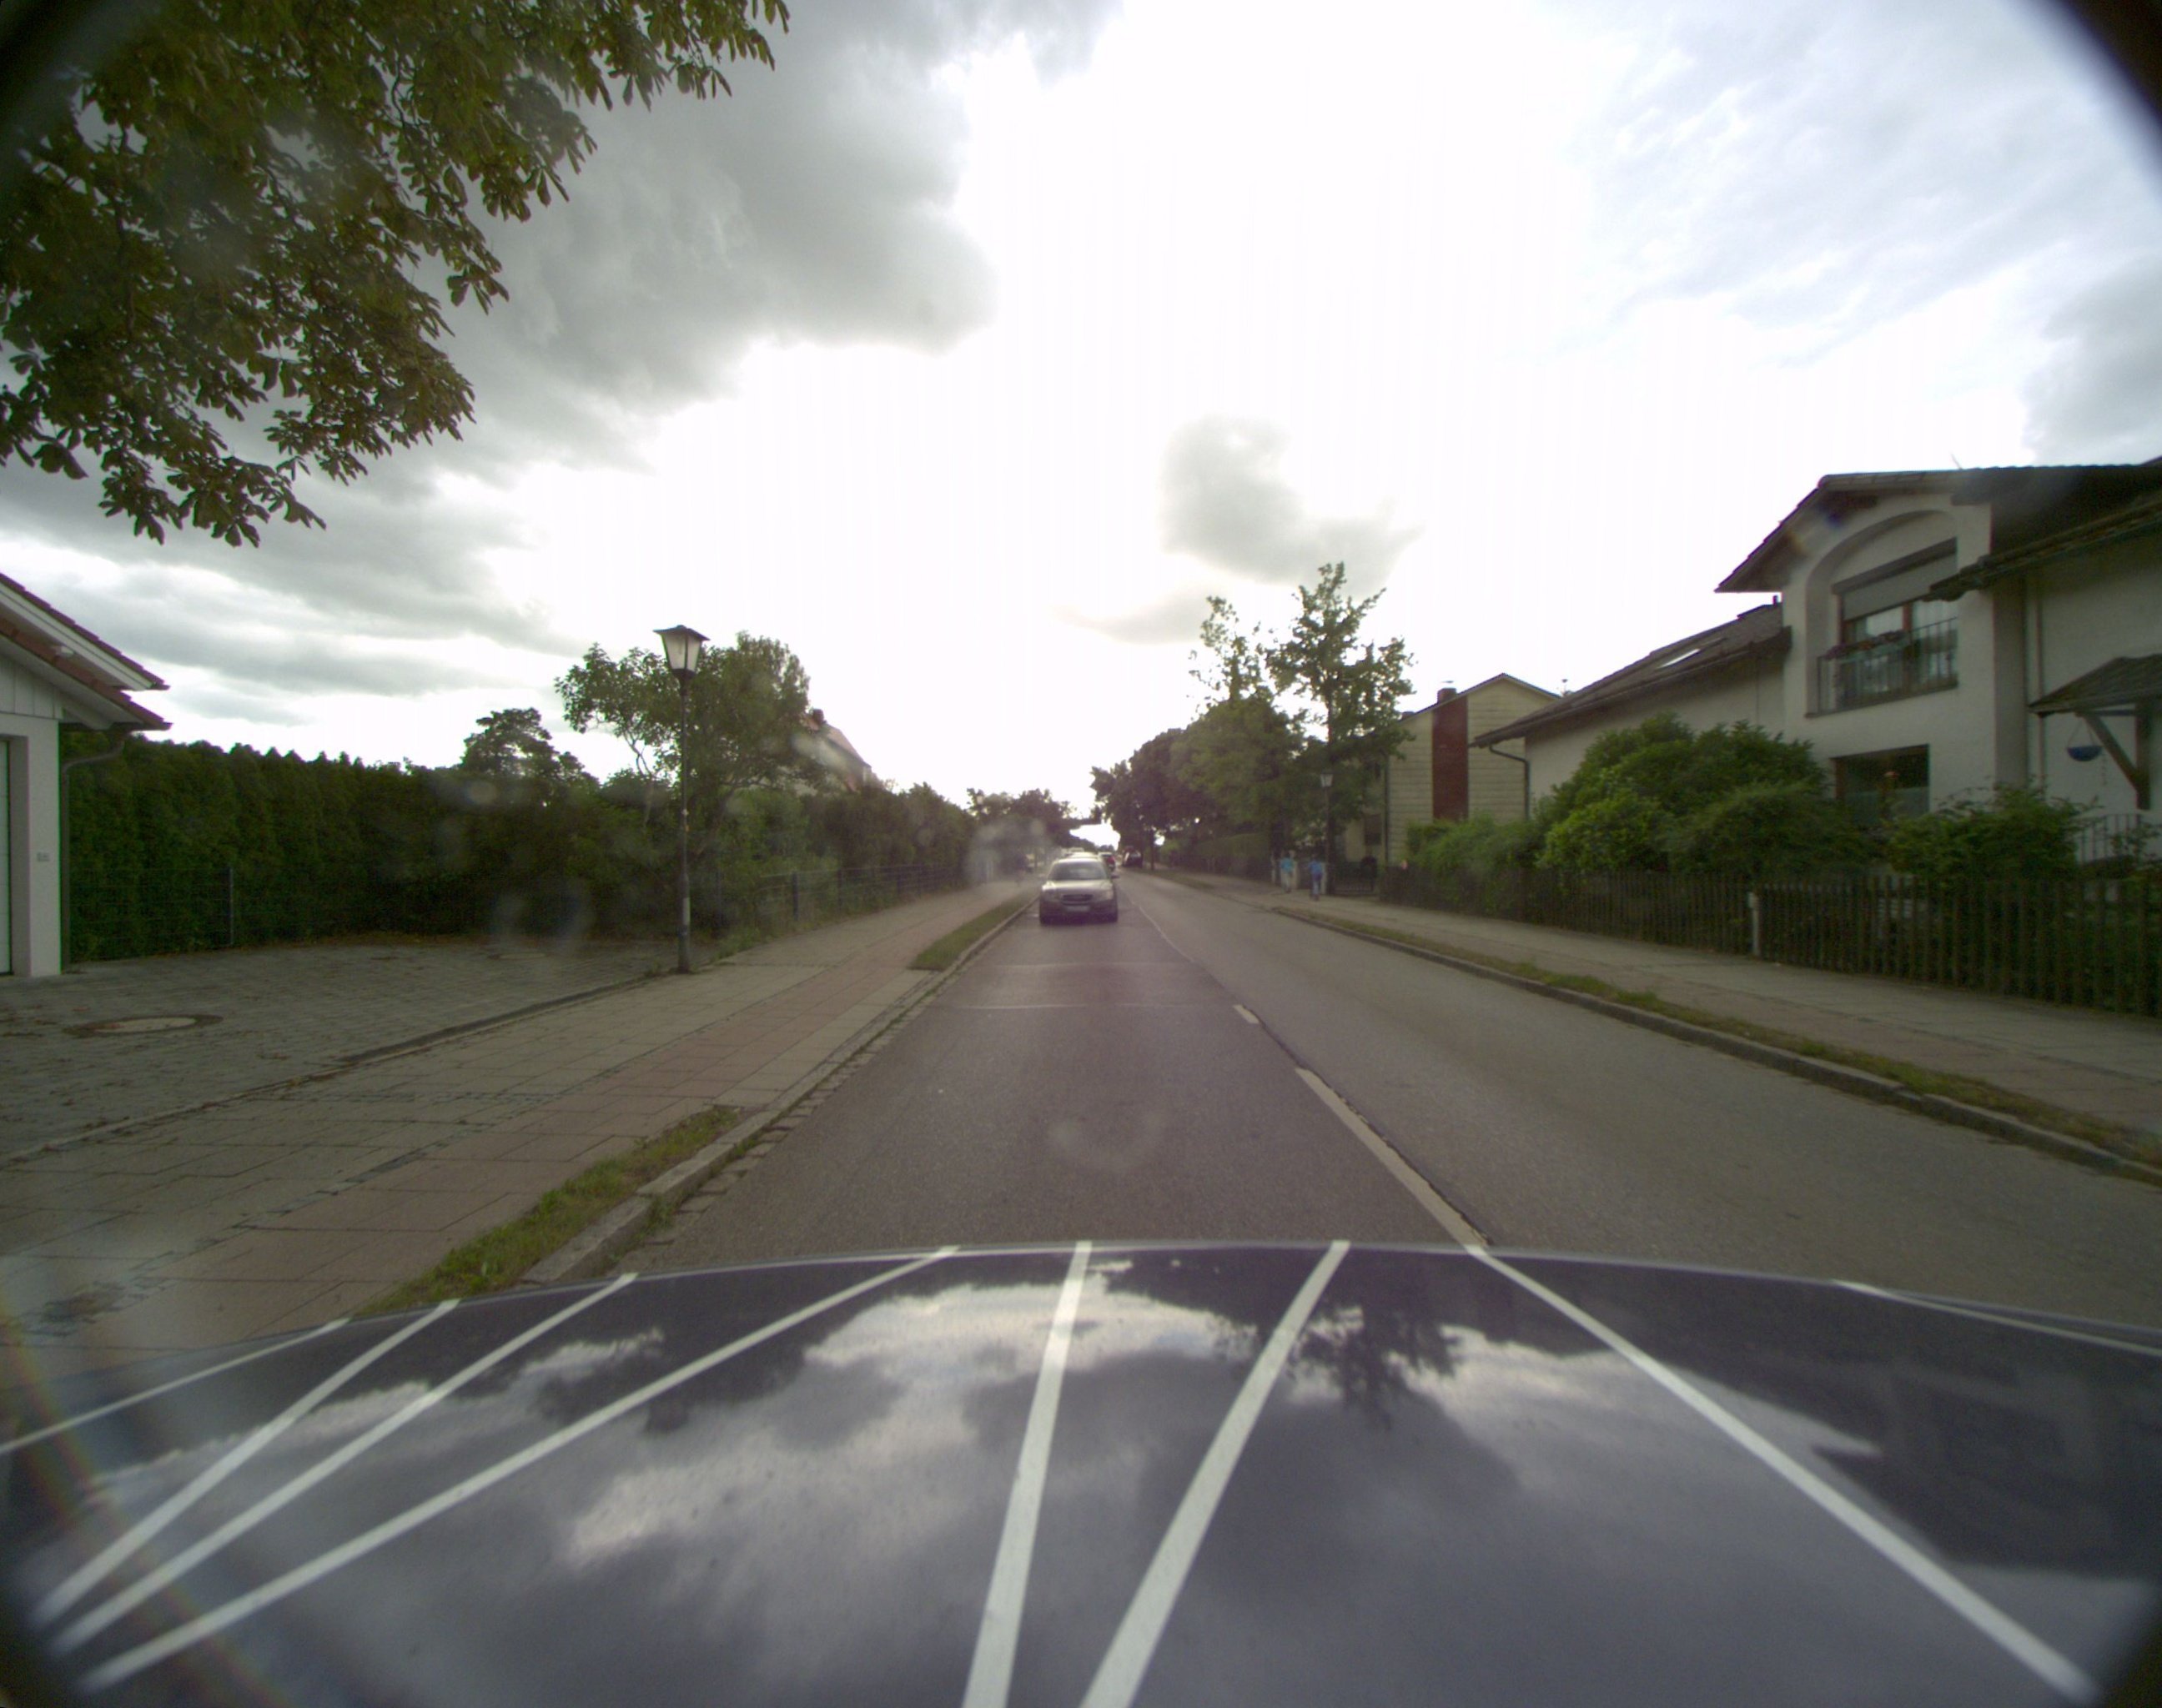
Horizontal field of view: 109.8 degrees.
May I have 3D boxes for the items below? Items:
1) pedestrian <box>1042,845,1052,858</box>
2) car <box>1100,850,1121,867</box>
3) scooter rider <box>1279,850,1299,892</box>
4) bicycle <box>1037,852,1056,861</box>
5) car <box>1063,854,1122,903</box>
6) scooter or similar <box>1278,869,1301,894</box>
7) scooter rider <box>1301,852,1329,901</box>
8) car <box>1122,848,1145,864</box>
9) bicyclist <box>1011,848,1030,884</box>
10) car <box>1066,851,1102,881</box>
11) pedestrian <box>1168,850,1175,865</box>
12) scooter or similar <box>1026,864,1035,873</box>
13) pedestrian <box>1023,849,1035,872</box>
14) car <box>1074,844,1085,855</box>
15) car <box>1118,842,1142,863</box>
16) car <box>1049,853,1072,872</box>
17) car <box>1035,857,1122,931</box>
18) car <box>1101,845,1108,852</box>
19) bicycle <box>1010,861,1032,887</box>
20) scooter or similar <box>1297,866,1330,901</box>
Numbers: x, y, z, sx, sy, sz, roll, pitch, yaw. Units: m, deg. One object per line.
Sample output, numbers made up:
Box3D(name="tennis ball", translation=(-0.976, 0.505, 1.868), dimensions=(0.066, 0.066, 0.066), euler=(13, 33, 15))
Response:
Box3D(name="pedestrian", translation=(-5.542, -0.398, 123.842), dimensions=(1.252, 2.002, 1.023), euler=(-1, 1, 24))
Box3D(name="car", translation=(2.918, 0.425, 75.877), dimensions=(1.935, 1.566, 4.311), euler=(1, 0, 0))
Box3D(name="scooter rider", translation=(7.436, 0.590, 27.136), dimensions=(0.504, 1.481, 0.716), euler=(-1, 1, 2))
Box3D(name="bicycle", translation=(-5.618, 0.423, 123.902), dimensions=(2.911, 1.541, 0.941), euler=(-1, 1, 23))
Box3D(name="car", translation=(0.358, 0.790, 26.912), dimensions=(1.866, 1.518, 4.942), euler=(-1, 0, 0))
Box3D(name="scooter or similar", translation=(7.449, 0.970, 27.149), dimensions=(0.522, 0.845, 1.061), euler=(-1, 0, 1))
Box3D(name="scooter rider", translation=(7.109, 0.668, 23.136), dimensions=(0.664, 1.464, 0.580), euler=(-1, 1, 1))
Box3D(name="car", translation=(5.648, 0.204, 81.740), dimensions=(1.999, 1.739, 3.999), euler=(-1, 0, -2))
Box3D(name="bicyclist", translation=(-2.775, 0.542, 35.128), dimensions=(0.738, 1.623, 0.890), euler=(-1, 1, 3))
Box3D(name="car", translation=(0.167, 0.604, 41.622), dimensions=(1.866, 1.518, 4.122), euler=(-1, 0, 0))
Box3D(name="pedestrian", translation=(8.747, 0.303, 73.289), dimensions=(0.631, 1.429, 0.563), euler=(-1, 1, 0))
Box3D(name="scooter or similar", translation=(-3.579, 1.017, 54.012), dimensions=(0.618, 0.553, 0.742), euler=(-1, 2, -3))
Box3D(name="pedestrian", translation=(-3.737, 0.472, 54.734), dimensions=(0.793, 1.593, 0.671), euler=(-1, 1, -2))
Box3D(name="car", translation=(-0.260, -0.916, 146.982), dimensions=(1.998, 2.002, 4.000), euler=(-1, 0, 0))
Box3D(name="car", translation=(5.620, -0.148, 87.578), dimensions=(2.246, 2.258, 4.469), euler=(-1, 0, -3))
Box3D(name="car", translation=(-1.710, 0.674, 64.109), dimensions=(1.867, 1.518, 4.122), euler=(-1, 0, -1))
Box3D(name="car", translation=(-0.052, 0.858, 18.120), dimensions=(1.809, 1.476, 4.270), euler=(-1, 0, 0))
Box3D(name="car", translation=(6.784, -1.551, 220.316), dimensions=(1.904, 1.873, 5.010), euler=(-1, 0, 1))
Box3D(name="bicycle", translation=(-2.786, 0.895, 35.248), dimensions=(0.766, 1.136, 1.845), euler=(-1, 0, 2))
Box3D(name="scooter or similar", translation=(7.121, 0.896, 23.281), dimensions=(0.663, 1.031, 1.178), euler=(-1, 0, 2))
